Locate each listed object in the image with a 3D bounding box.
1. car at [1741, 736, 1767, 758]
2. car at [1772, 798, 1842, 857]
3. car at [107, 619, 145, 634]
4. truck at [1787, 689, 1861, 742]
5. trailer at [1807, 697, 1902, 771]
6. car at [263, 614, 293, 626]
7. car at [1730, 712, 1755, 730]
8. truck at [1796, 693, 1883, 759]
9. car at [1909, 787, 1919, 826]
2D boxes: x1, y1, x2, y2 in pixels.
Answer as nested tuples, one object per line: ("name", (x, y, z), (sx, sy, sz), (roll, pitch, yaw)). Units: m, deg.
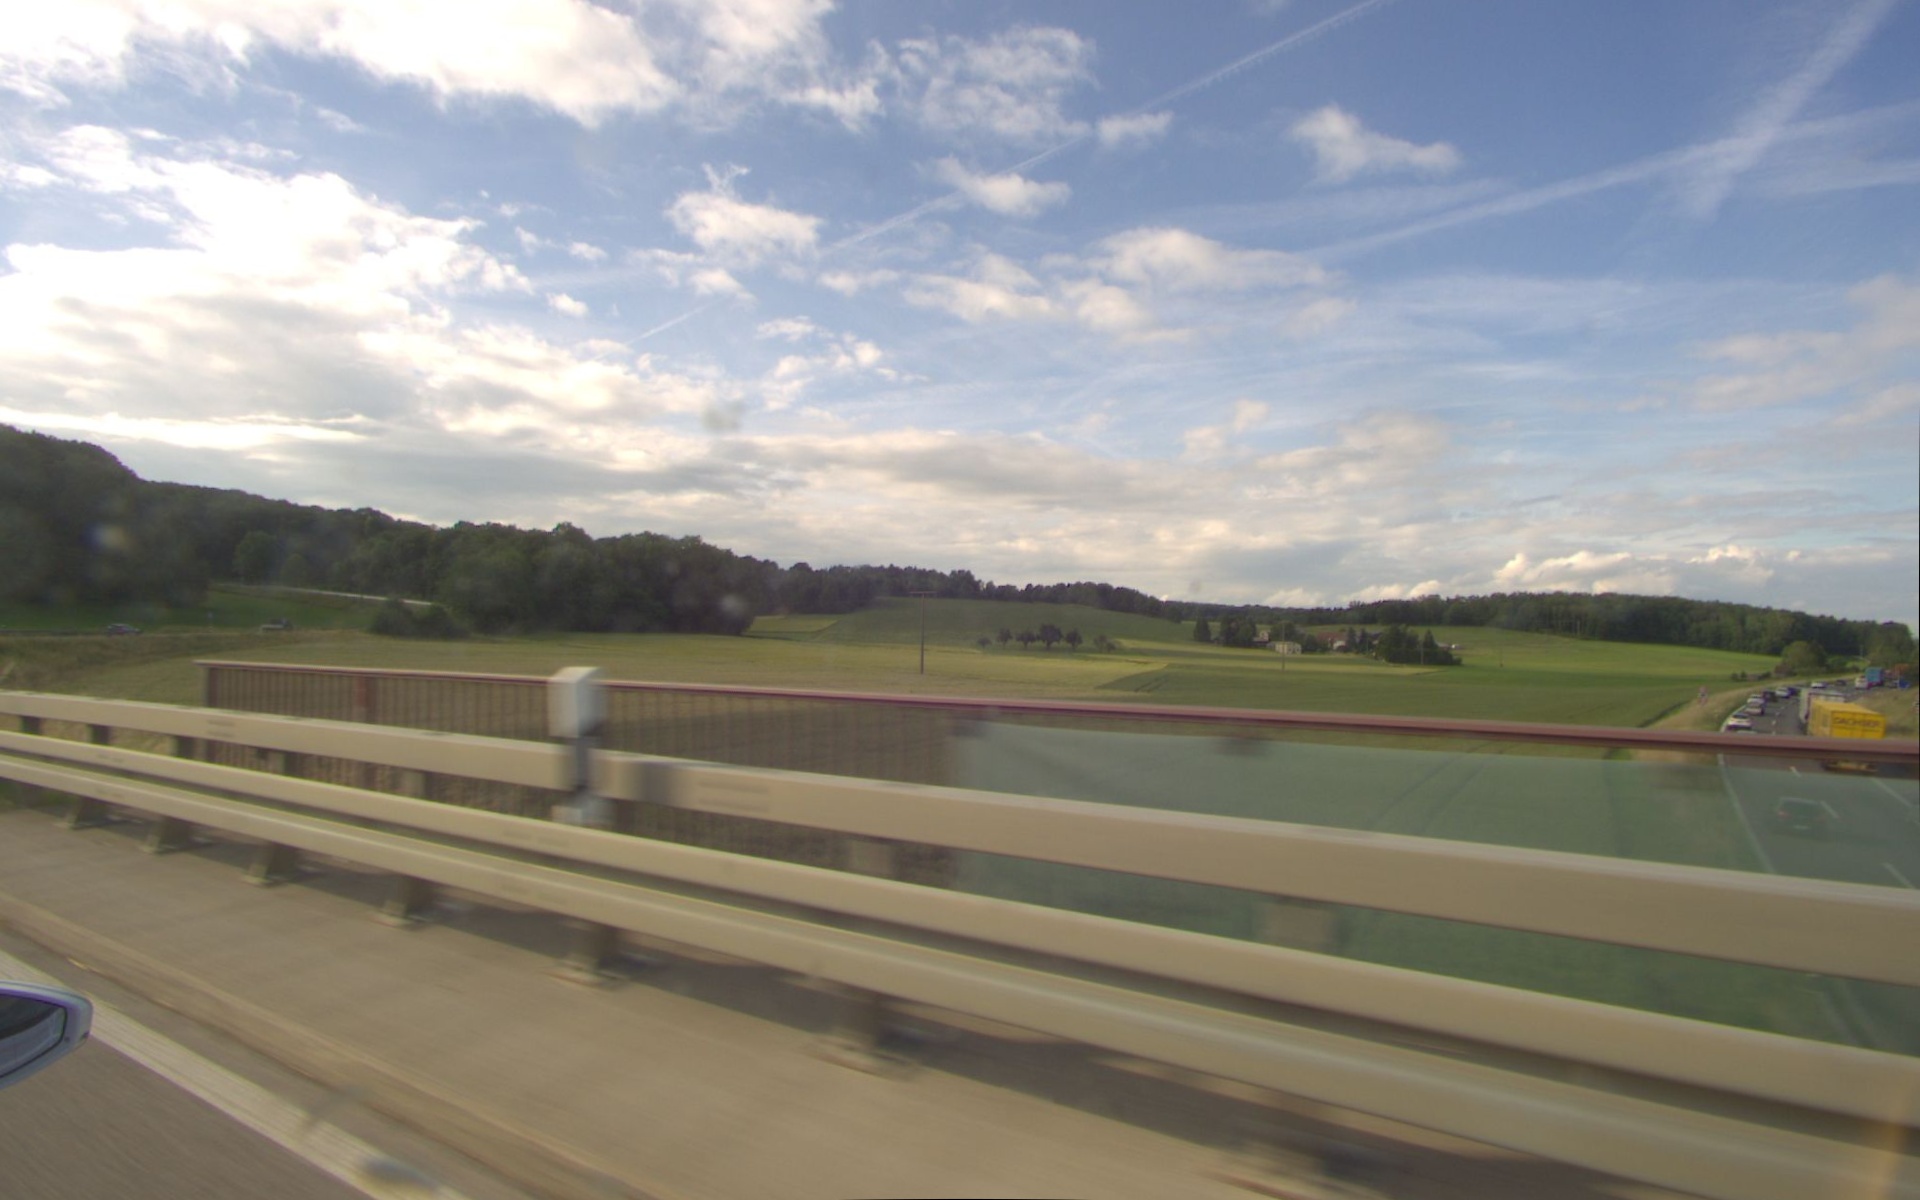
("car", (58.425, 10.820, 73.676), (1.360, 1.283, 3.081), (0, -3, 36))
("car", (32.936, 8.803, 39.039), (1.660, 1.538, 3.979), (0, -3, 34))
("car", (-104.018, 3.318, 124.943), (1.965, 1.699, 4.173), (3, -3, -16))
("truck", (81.051, 10.749, 94.237), (4.031, 4.044, 14.331), (-5, -5, 37))
("trailer", (58.174, 8.587, 65.403), (3.790, 4.109, 9.071), (-3, -4, 37))
("car", (-108.020, 3.207, 158.692), (1.961, 1.793, 4.003), (1, -3, -2))
("car", (72.660, 11.247, 93.026), (1.586, 1.412, 3.310), (0, -3, 34))
("truck", (63.726, 8.995, 72.815), (3.790, 4.109, 9.741), (-3, -4, 37))
("car", (43.557, 9.348, 44.206), (1.779, 1.488, 3.978), (3, -1, 35))
